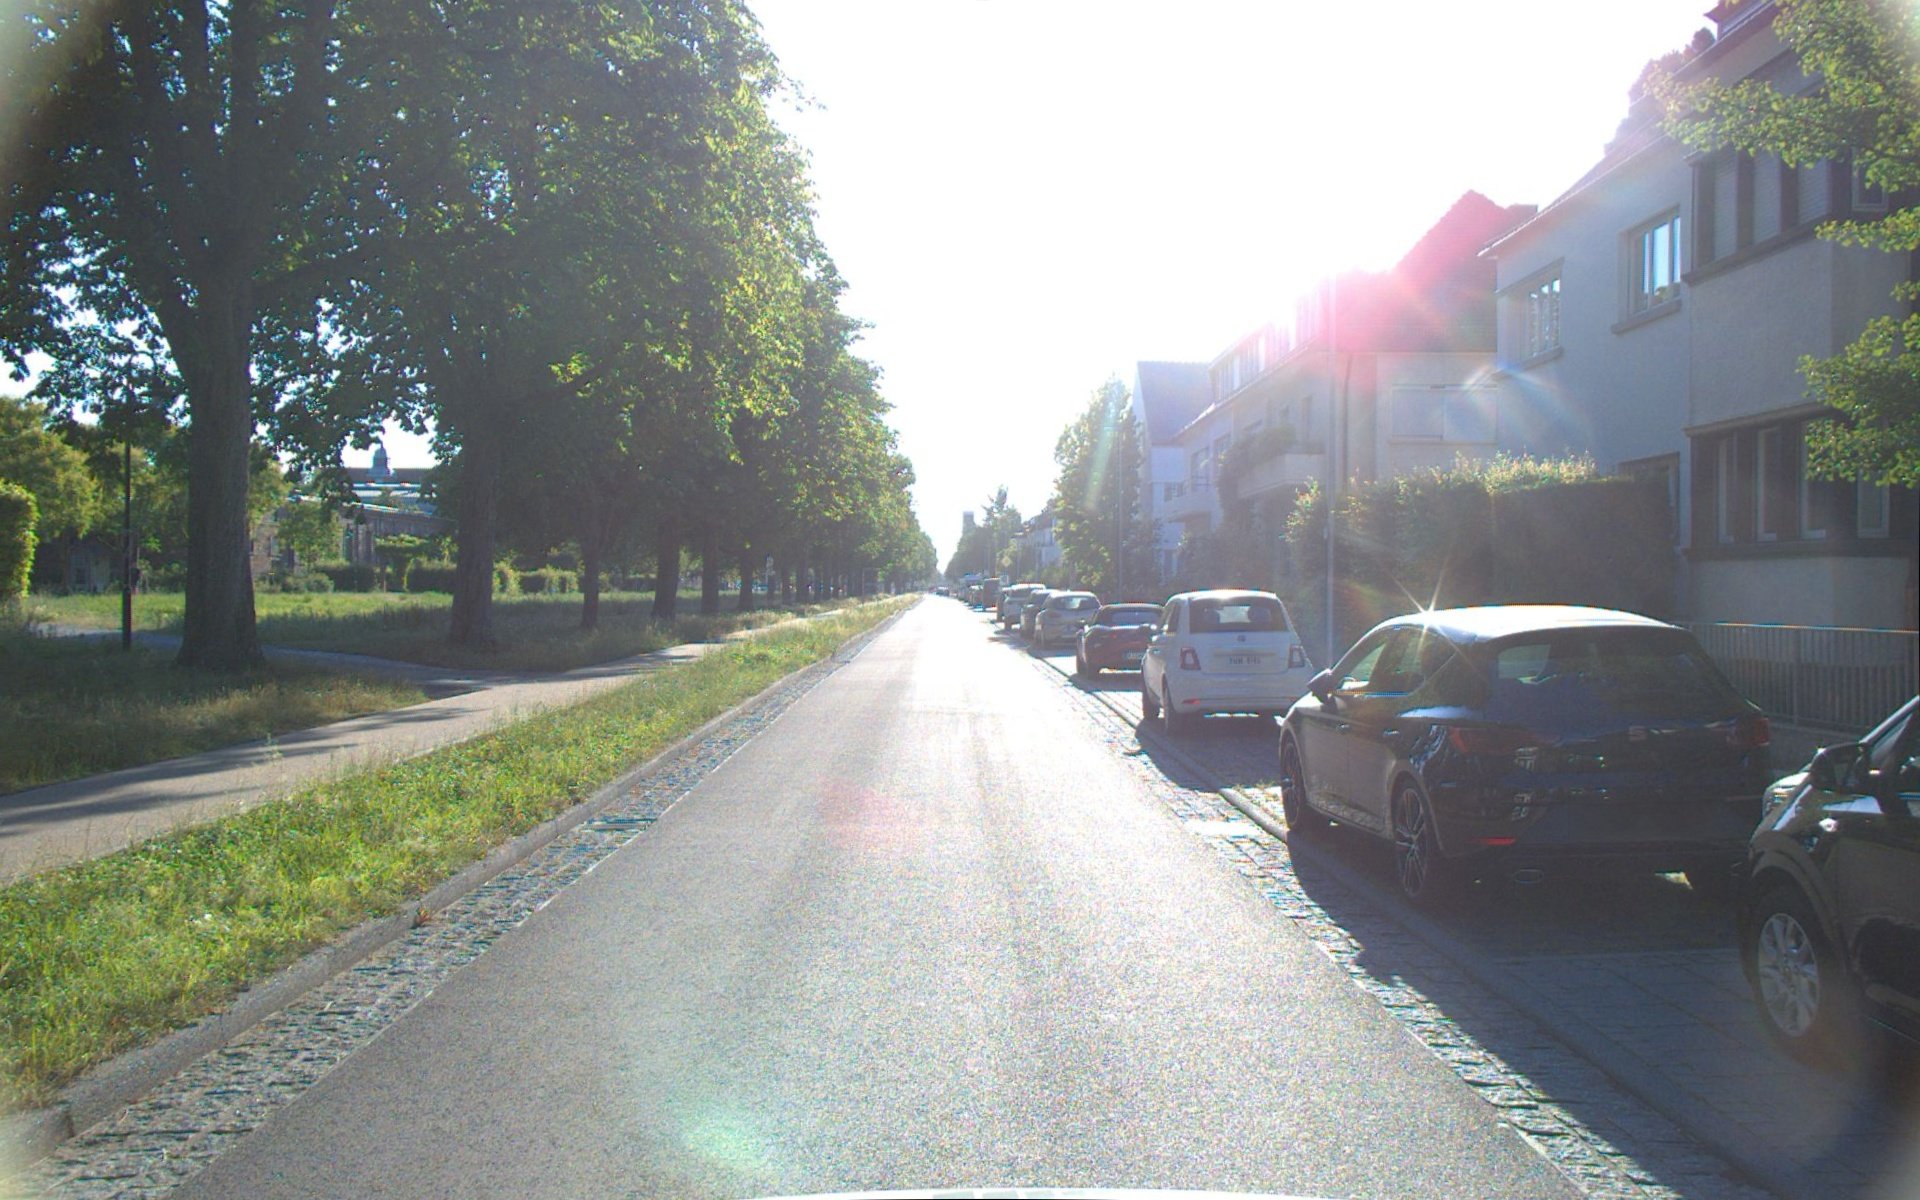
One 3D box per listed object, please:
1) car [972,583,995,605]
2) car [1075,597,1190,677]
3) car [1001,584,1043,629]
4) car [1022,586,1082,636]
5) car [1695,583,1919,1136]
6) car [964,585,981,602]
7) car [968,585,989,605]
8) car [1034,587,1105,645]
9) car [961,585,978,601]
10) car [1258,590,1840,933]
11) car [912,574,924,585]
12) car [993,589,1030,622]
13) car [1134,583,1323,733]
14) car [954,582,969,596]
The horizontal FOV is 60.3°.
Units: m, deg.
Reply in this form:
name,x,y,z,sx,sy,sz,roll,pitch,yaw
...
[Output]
name,x,y,z,sx,sy,sz,roll,pitch,yaw
car,1.745,-0.444,122.948,1.618,1.568,3.267,1,0,0
car,2.937,0.600,28.782,1.658,1.270,3.497,0,0,0
car,2.265,0.212,60.944,1.467,1.594,3.267,0,0,0
car,2.725,0.300,49.444,1.618,1.421,3.267,0,0,0
car,3.430,0.706,4.180,1.623,1.520,3.717,-1,0,3
car,1.221,-0.660,161.726,1.618,1.568,3.267,1,0,0
car,1.519,-0.394,135.166,1.618,1.568,3.267,1,0,0
car,2.766,0.373,42.359,1.618,1.421,3.267,0,0,0
car,0.986,-0.707,167.075,1.618,1.568,3.267,1,0,0
car,3.013,0.716,9.481,1.701,1.474,4.195,-2,0,-2
car,-5.936,-2.900,232.827,1.618,1.568,3.266,1,0,-1
car,2.275,0.225,73.985,1.561,1.459,3.267,0,0,0
car,2.955,0.585,18.819,1.560,1.536,3.591,0,0,0
car,0.192,-1.261,191.956,1.618,1.568,3.266,1,0,-1
